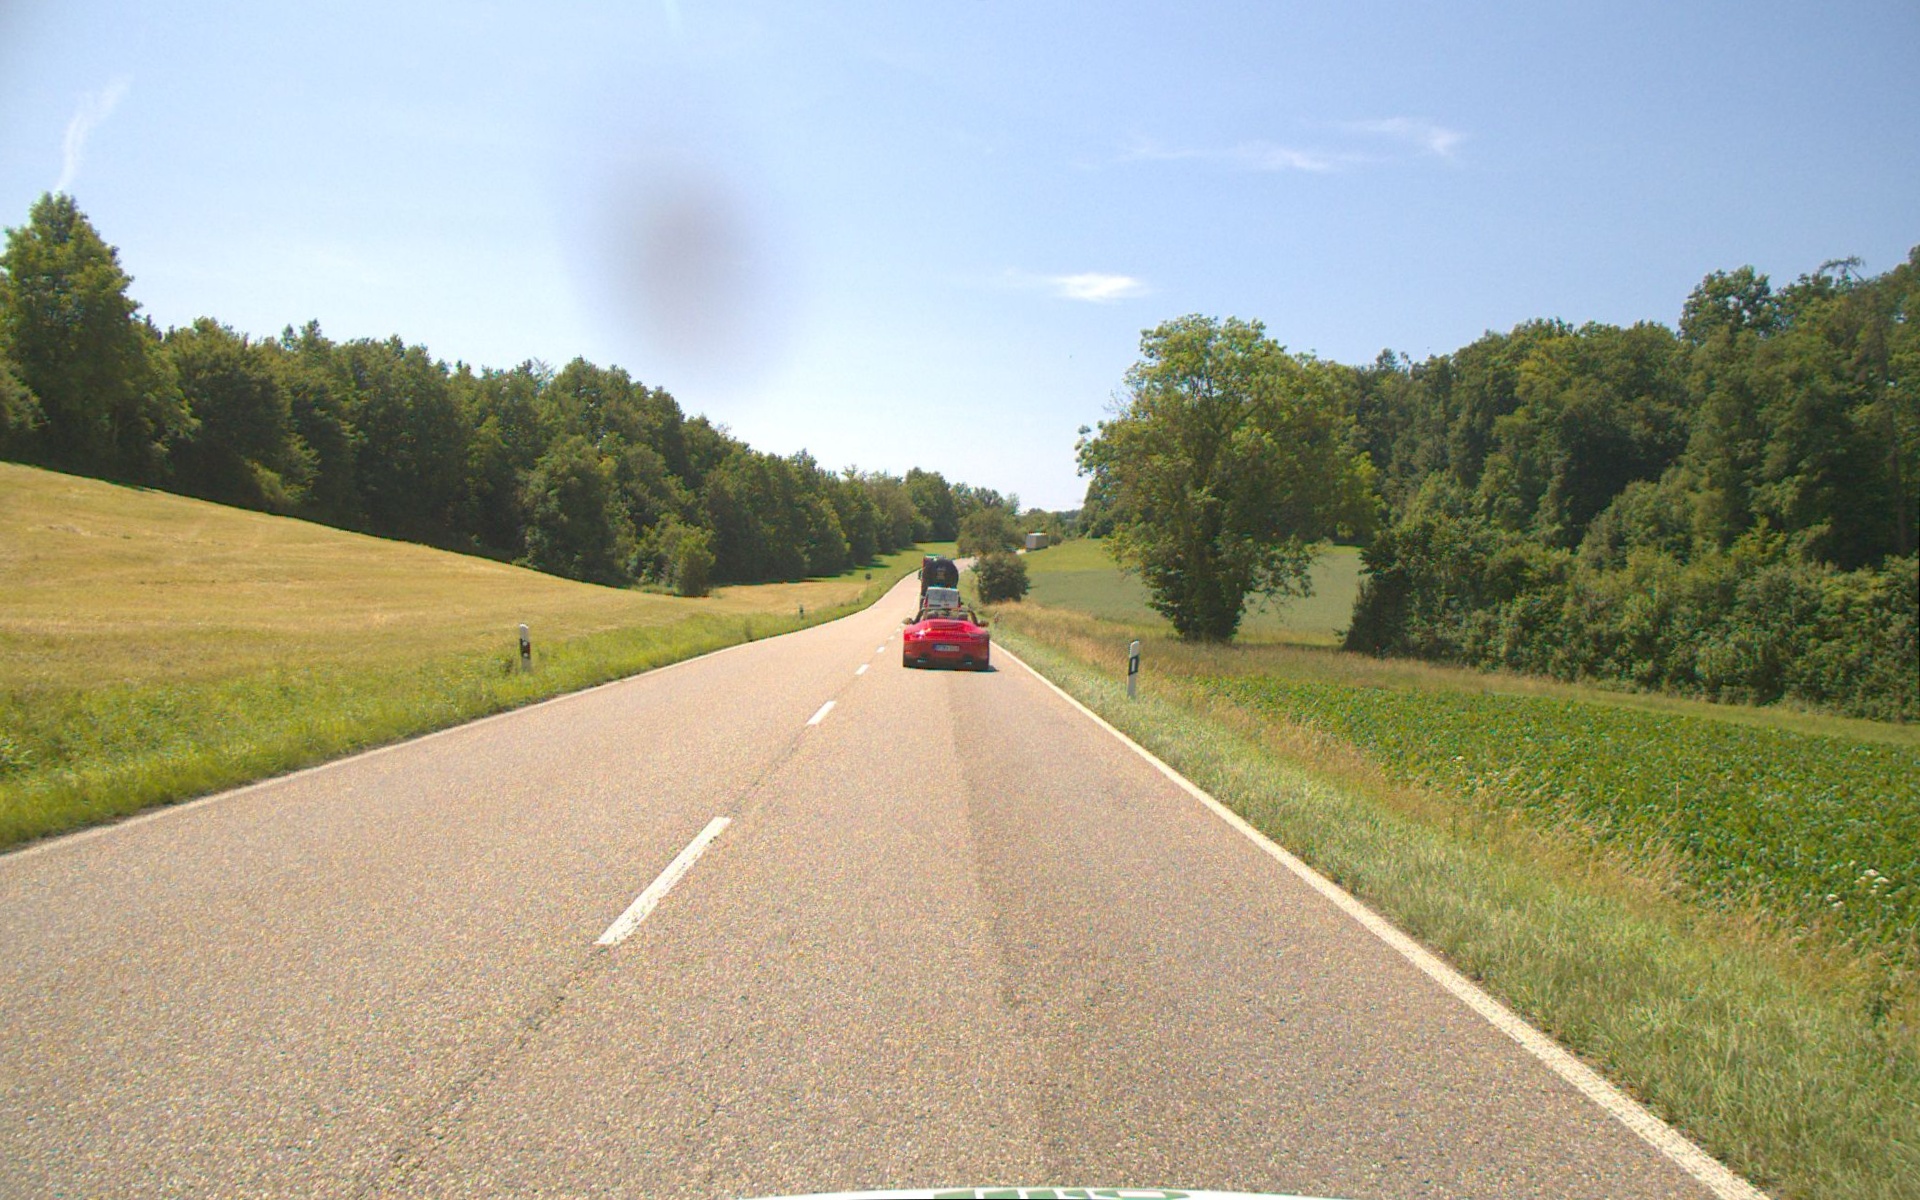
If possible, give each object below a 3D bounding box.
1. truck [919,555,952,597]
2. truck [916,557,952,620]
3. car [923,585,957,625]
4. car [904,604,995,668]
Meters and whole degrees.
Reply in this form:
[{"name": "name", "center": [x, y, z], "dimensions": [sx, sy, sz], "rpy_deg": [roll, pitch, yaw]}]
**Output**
[{"name": "truck", "center": [-3.080, -3.033, 203.203], "dimensions": [3.650, 4.741, 12.028], "rpy_deg": [1, 2, -2]}, {"name": "truck", "center": [-1.927, -0.921, 118.077], "dimensions": [2.355, 4.119, 12.548], "rpy_deg": [0, 2, -2]}, {"name": "car", "center": [-0.955, 0.210, 82.031], "dimensions": [1.644, 1.934, 4.009], "rpy_deg": [0, 0, 0]}, {"name": "car", "center": [-0.262, 0.747, 35.847], "dimensions": [1.844, 1.277, 4.008], "rpy_deg": [0, 0, -1]}]
